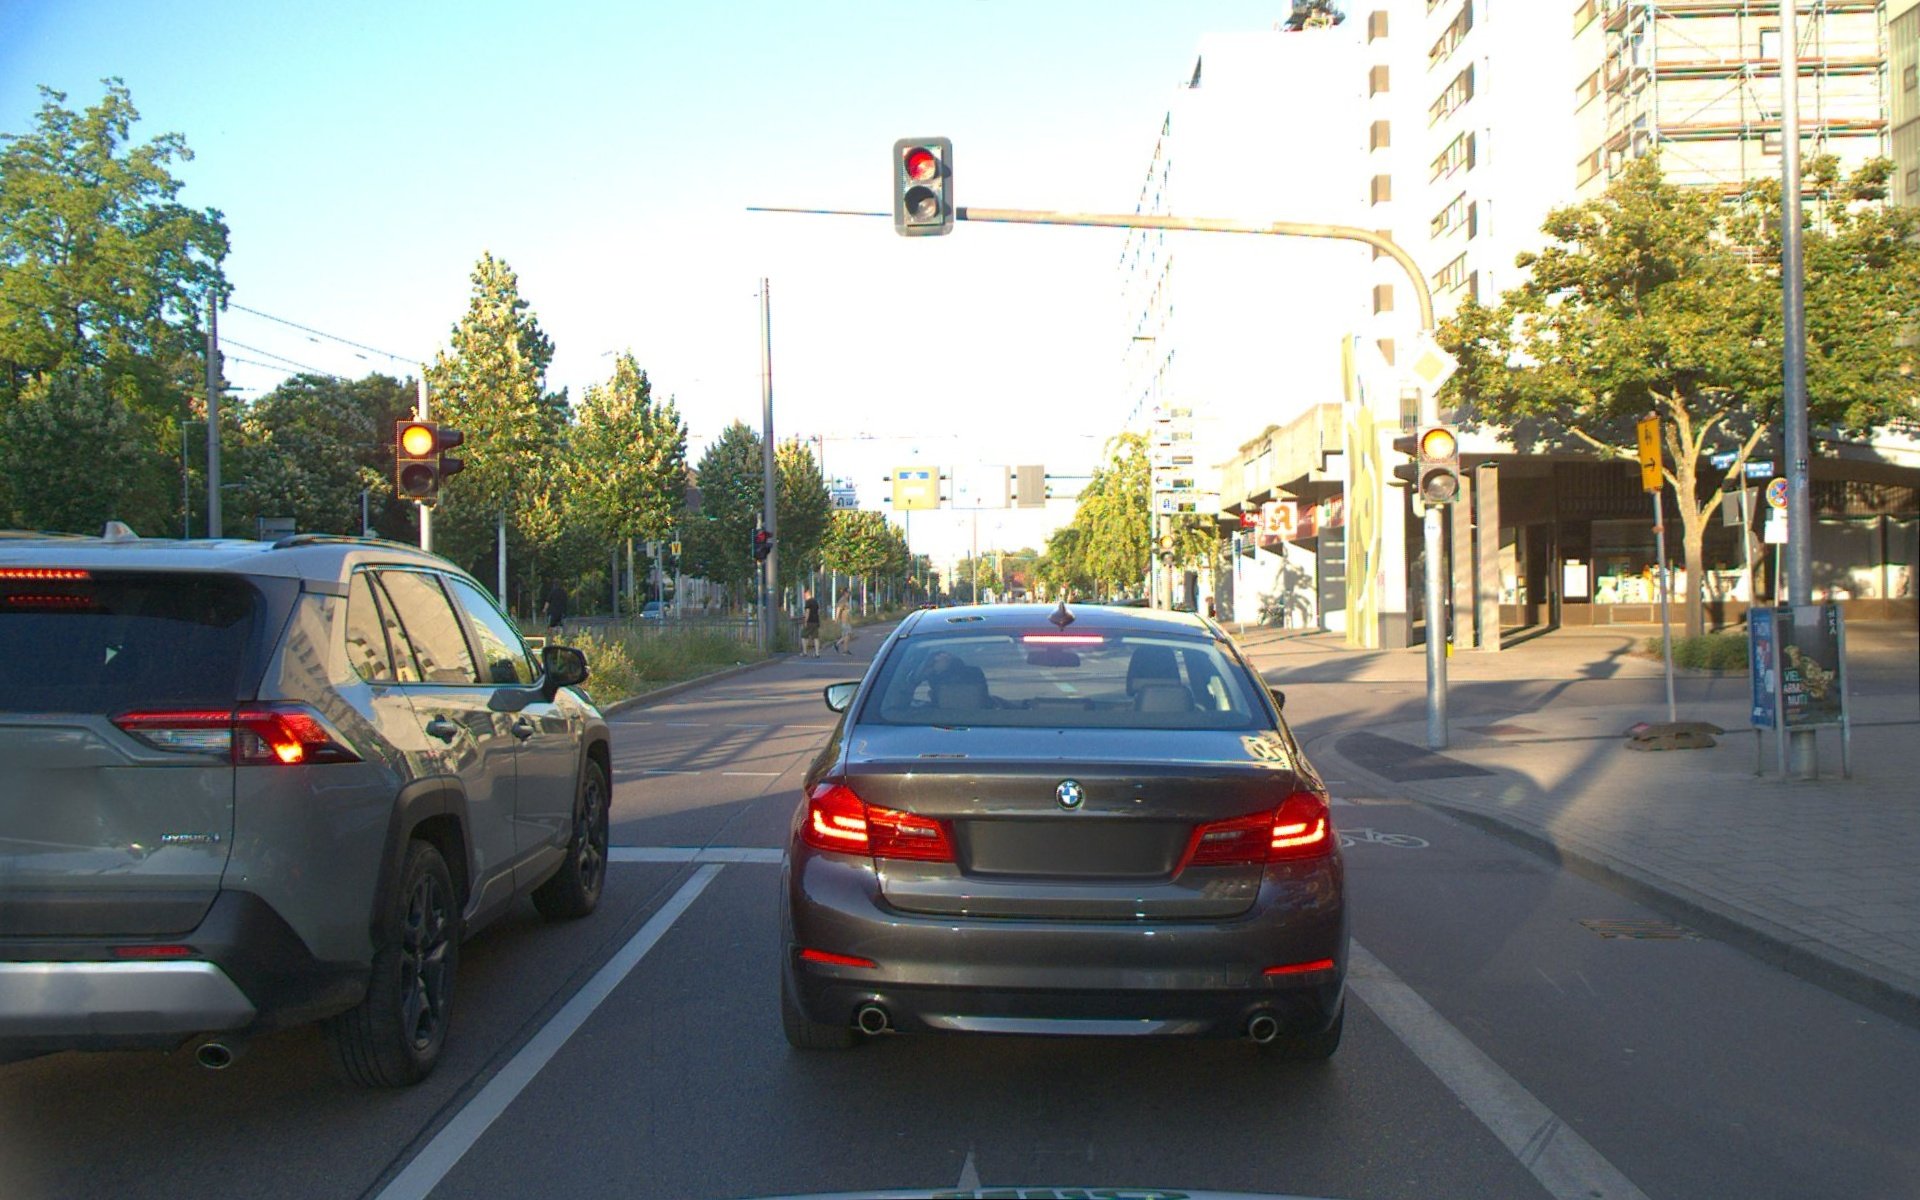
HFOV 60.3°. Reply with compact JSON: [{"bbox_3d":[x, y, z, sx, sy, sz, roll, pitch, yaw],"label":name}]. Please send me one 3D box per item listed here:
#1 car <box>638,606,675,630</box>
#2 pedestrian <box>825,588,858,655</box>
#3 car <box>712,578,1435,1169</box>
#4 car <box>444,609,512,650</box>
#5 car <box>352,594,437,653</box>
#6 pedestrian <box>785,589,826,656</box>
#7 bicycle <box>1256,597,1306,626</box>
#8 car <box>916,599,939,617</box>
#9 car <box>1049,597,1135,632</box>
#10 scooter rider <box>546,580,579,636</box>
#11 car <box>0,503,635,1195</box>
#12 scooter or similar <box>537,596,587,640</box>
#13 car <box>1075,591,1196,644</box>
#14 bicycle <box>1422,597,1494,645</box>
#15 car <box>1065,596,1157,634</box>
[{"bbox_3d":[-20.431,1.190,111.384,1.763,1.507,3.783,-1,0,0],"label":"car"},{"bbox_3d":[-3.107,0.564,43.381,0.818,1.742,0.647,-1,0,-2],"label":"pedestrian"},{"bbox_3d":[0.390,0.688,6.619,1.892,1.507,4.524,0,1,3],"label":"car"},{"bbox_3d":[-23.046,1.397,79.253,1.953,1.775,4.749,0,1,-2],"label":"car"},{"bbox_3d":[-22.790,0.909,66.810,1.953,2.206,4.749,0,1,-2],"label":"car"},{"bbox_3d":[-3.830,0.552,41.046,0.817,1.614,0.812,-1,0,7],"label":"pedestrian"},{"bbox_3d":[13.431,0.483,69.168,1.974,1.169,0.691,2,-1,6],"label":"bicycle"},{"bbox_3d":[-2.858,0.726,146.936,1.938,1.458,4.843,0,1,0],"label":"car"},{"bbox_3d":[6.810,0.720,85.248,4.219,1.687,1.838,0,1,-36],"label":"car"},{"bbox_3d":[-11.104,0.217,46.187,0.805,1.540,0.652,-1,0,-8],"label":"scooter rider"},{"bbox_3d":[-2.466,0.565,6.157,1.817,1.687,4.267,0,1,-2],"label":"car"},{"bbox_3d":[-11.096,0.496,46.155,1.304,1.173,0.512,-1,0,-9],"label":"scooter or similar"},{"bbox_3d":[6.055,0.565,56.762,4.234,1.687,1.831,-1,1,-43],"label":"car"},{"bbox_3d":[12.476,0.525,41.525,0.678,1.169,2.012,2,-1,-19],"label":"bicycle"},{"bbox_3d":[7.226,0.691,79.004,4.221,1.687,1.837,0,1,-36],"label":"car"}]
